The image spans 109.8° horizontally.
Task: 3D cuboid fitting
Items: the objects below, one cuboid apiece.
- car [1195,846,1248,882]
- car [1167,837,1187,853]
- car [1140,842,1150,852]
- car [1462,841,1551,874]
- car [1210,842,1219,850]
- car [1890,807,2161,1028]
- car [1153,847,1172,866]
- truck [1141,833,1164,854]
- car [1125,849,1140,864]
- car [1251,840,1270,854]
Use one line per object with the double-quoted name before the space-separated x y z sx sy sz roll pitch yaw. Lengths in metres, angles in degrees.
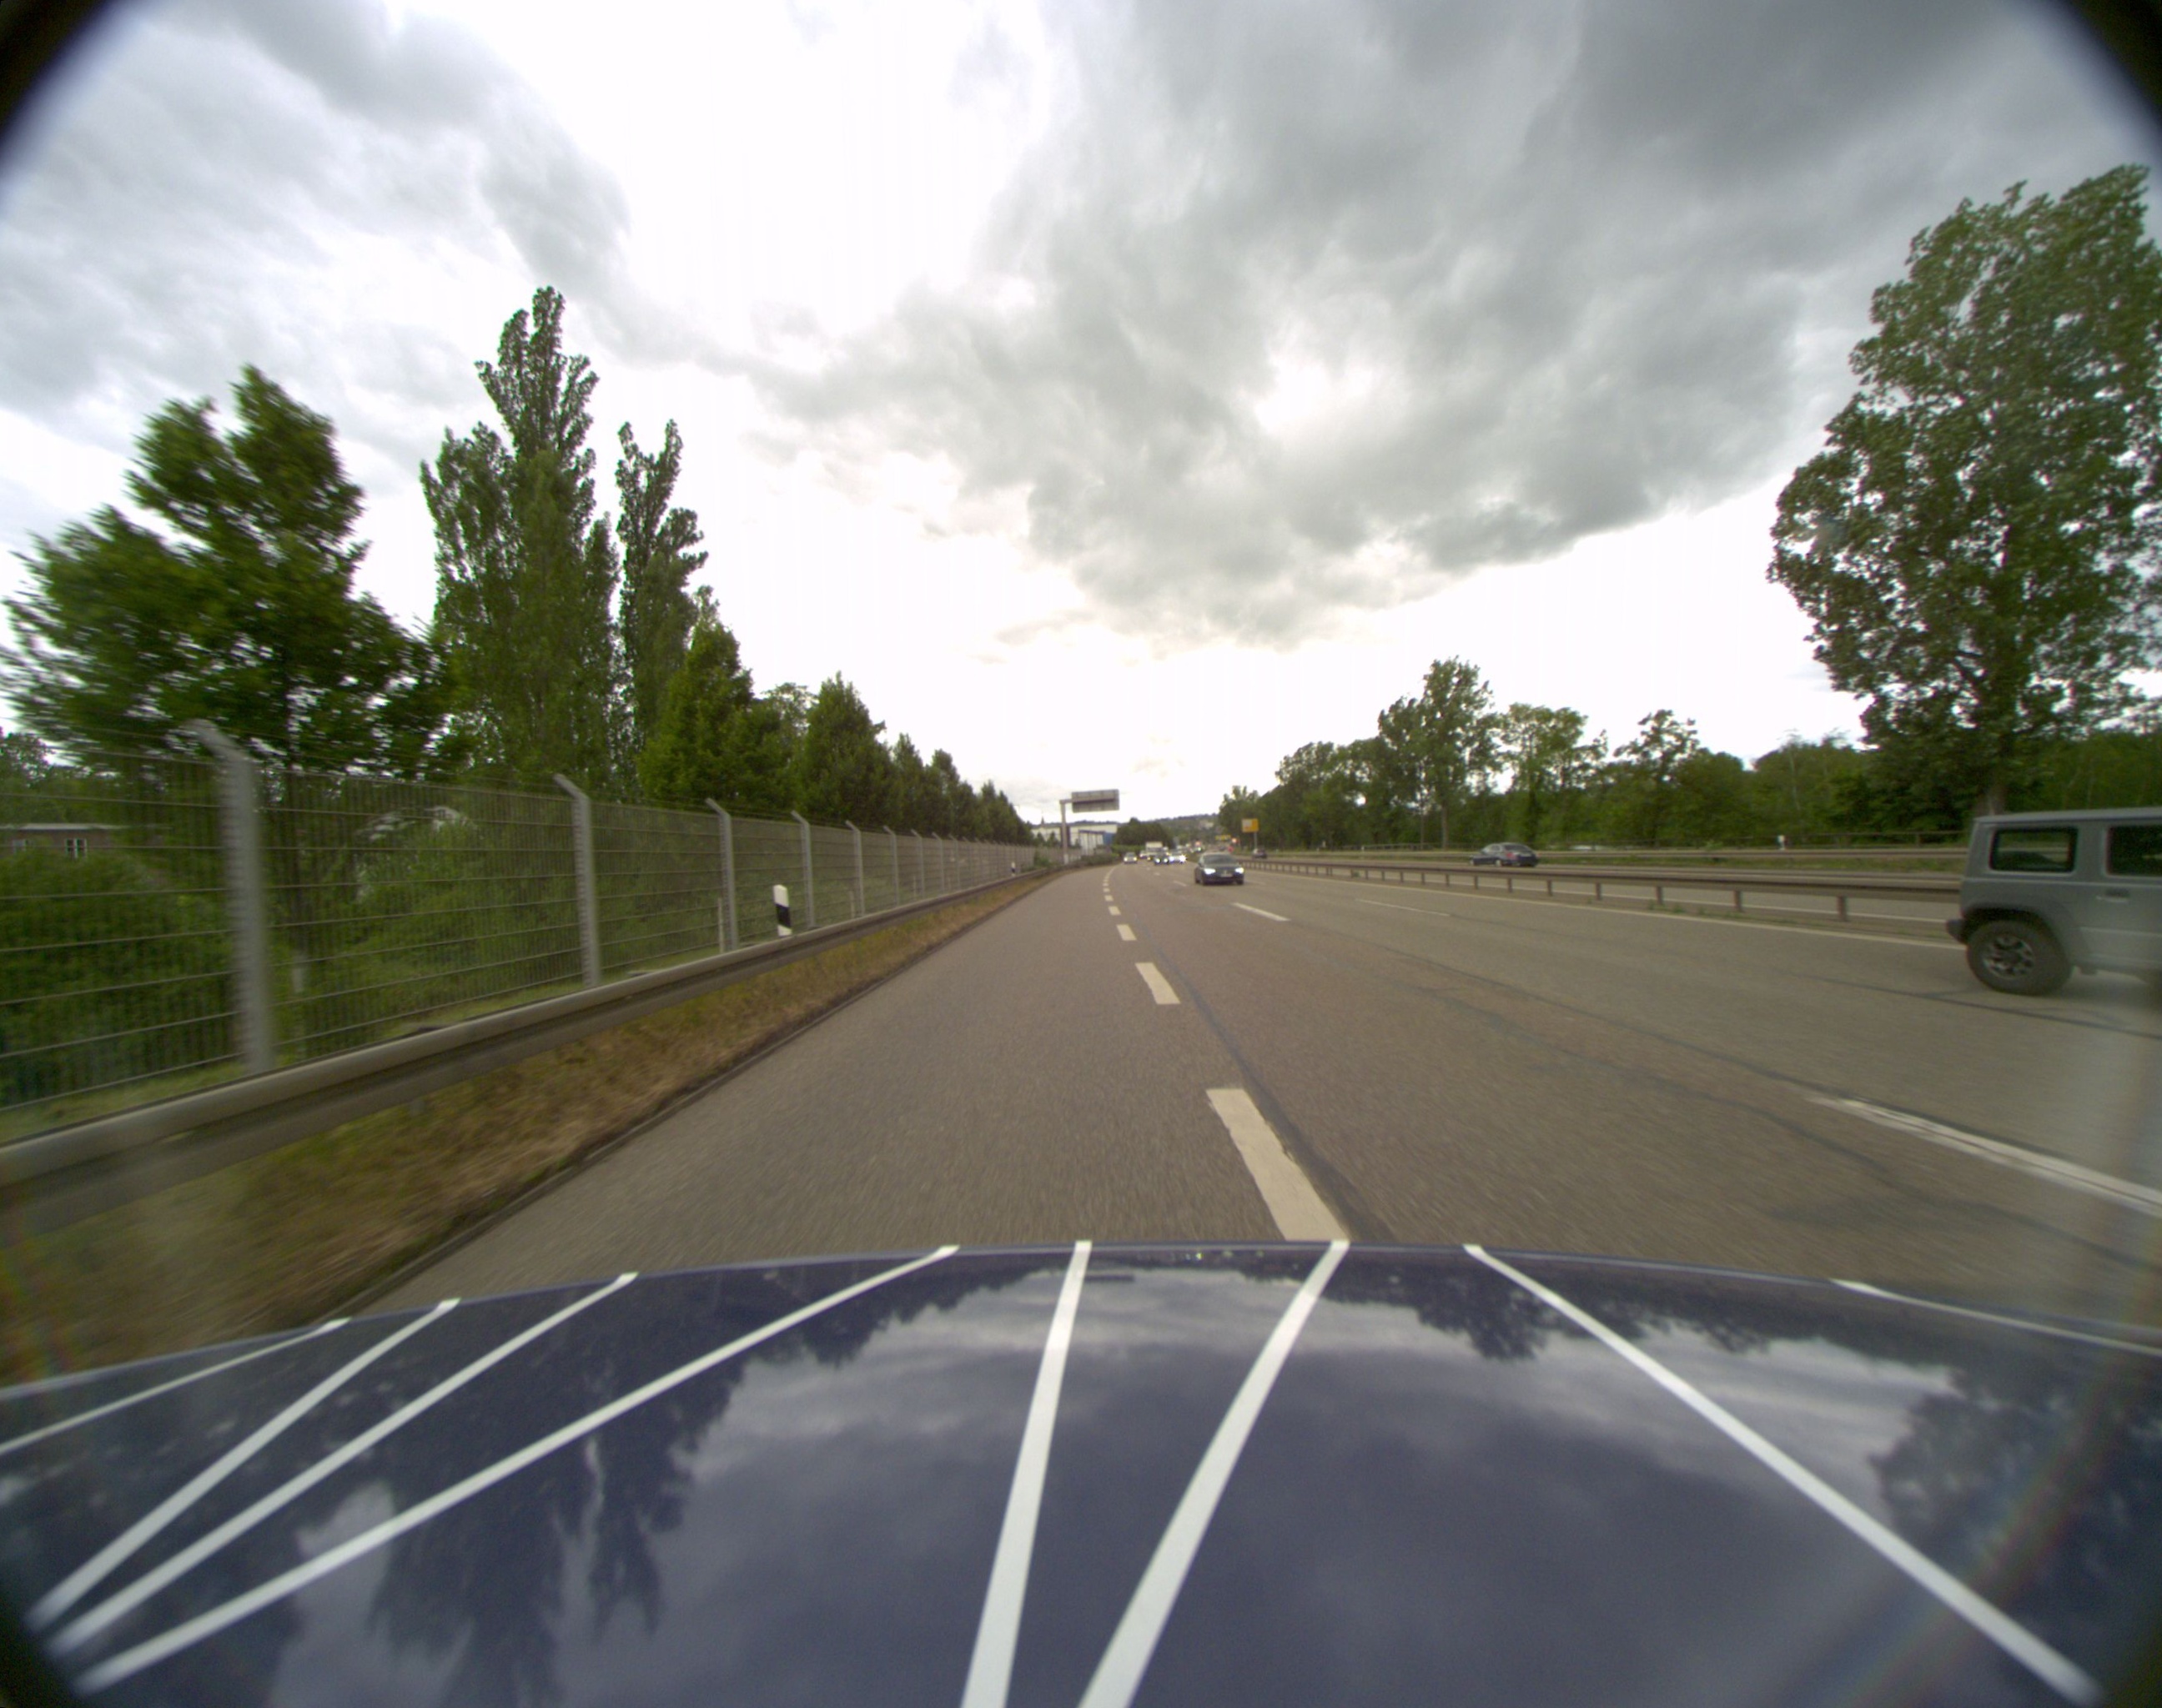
"car" 6.332 0.418 34.652 1.939 1.492 4.305 -2 0 5
"car" 12.064 -1.105 95.797 1.878 1.853 3.999 -2 1 0
"car" 14.719 -1.616 173.929 1.998 2.002 4.000 -2 1 2
"car" 22.449 0.174 40.305 1.999 1.599 4.649 -2 0 -1
"car" 37.246 -2.275 211.530 1.998 2.002 4.000 -2 1 3
"car" 9.259 0.470 5.934 1.685 1.726 3.999 -2 0 2
"car" 9.577 0.282 89.107 1.998 2.002 4.001 -4 0 5
"truck" 11.680 -1.776 124.898 3.039 3.141 7.566 -2 2 1
"car" 7.525 0.382 110.317 1.998 2.002 4.001 -4 0 5
"car" 27.012 -1.053 114.529 1.998 2.002 5.223 -4 0 6
